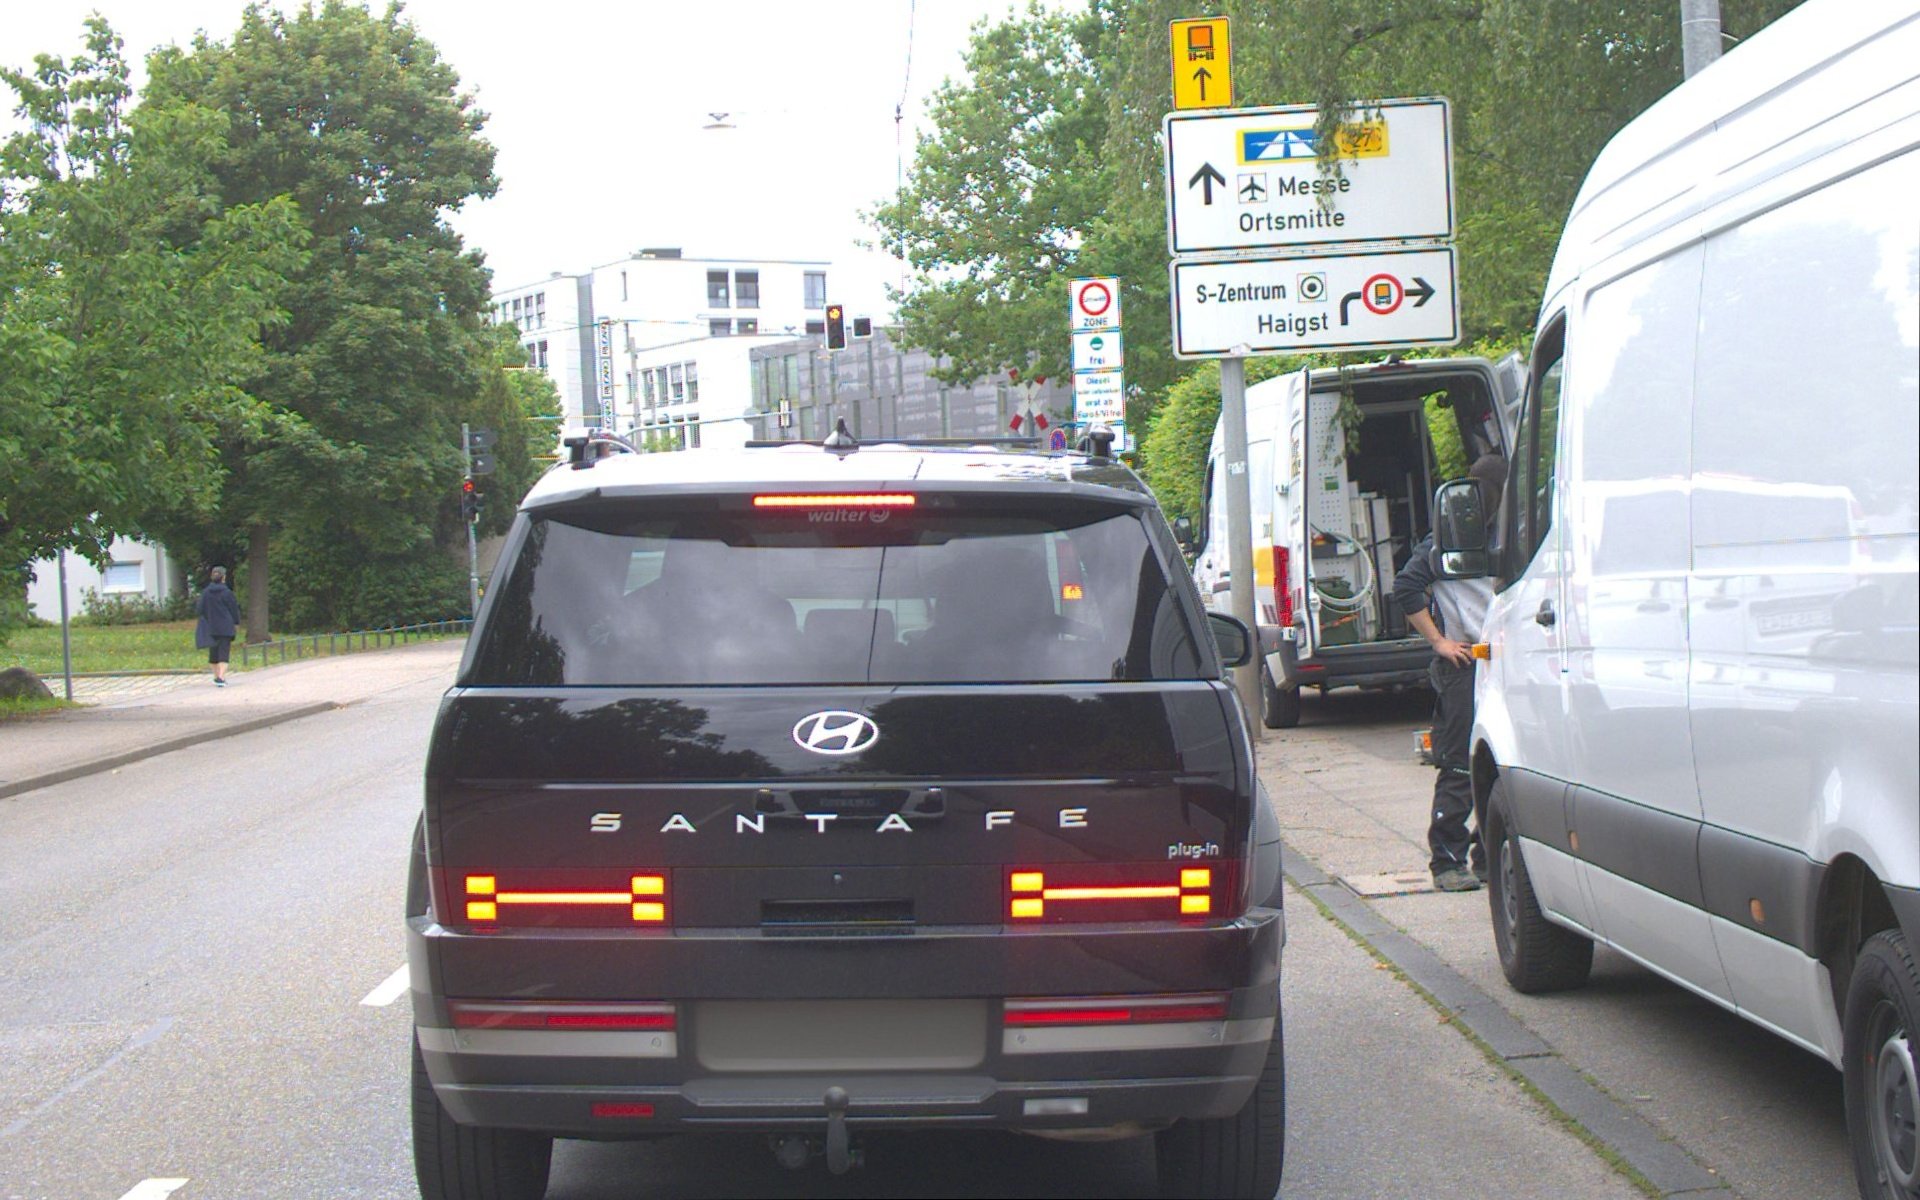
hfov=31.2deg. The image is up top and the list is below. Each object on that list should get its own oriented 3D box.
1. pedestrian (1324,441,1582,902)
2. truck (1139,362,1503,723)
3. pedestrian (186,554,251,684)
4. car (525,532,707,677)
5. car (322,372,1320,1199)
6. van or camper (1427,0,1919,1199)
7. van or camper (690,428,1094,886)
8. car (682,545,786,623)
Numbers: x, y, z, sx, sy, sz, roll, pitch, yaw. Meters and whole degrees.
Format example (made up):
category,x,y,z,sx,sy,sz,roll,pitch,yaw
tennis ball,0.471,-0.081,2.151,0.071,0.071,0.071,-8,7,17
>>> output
category,x,y,z,sx,sy,sz,roll,pitch,yaw
pedestrian,1.985,0.275,13.945,0.870,1.791,0.760,-2,1,-1
truck,2.804,-0.448,27.995,1.942,2.553,5.217,-4,1,-4
pedestrian,-10.015,0.248,46.474,0.738,1.709,0.793,-2,1,-7
car,-4.402,0.015,44.606,1.859,1.651,4.306,-4,1,-1
car,-0.285,0.443,8.553,1.889,1.813,4.000,0,1,-1
van or camper,2.624,-0.082,8.141,1.993,2.611,6.541,-2,1,-1
van or camper,-0.328,0.225,17.496,1.754,2.007,4.000,-2,1,-1
car,-4.715,-0.355,72.094,1.859,1.448,4.111,-4,1,-1
